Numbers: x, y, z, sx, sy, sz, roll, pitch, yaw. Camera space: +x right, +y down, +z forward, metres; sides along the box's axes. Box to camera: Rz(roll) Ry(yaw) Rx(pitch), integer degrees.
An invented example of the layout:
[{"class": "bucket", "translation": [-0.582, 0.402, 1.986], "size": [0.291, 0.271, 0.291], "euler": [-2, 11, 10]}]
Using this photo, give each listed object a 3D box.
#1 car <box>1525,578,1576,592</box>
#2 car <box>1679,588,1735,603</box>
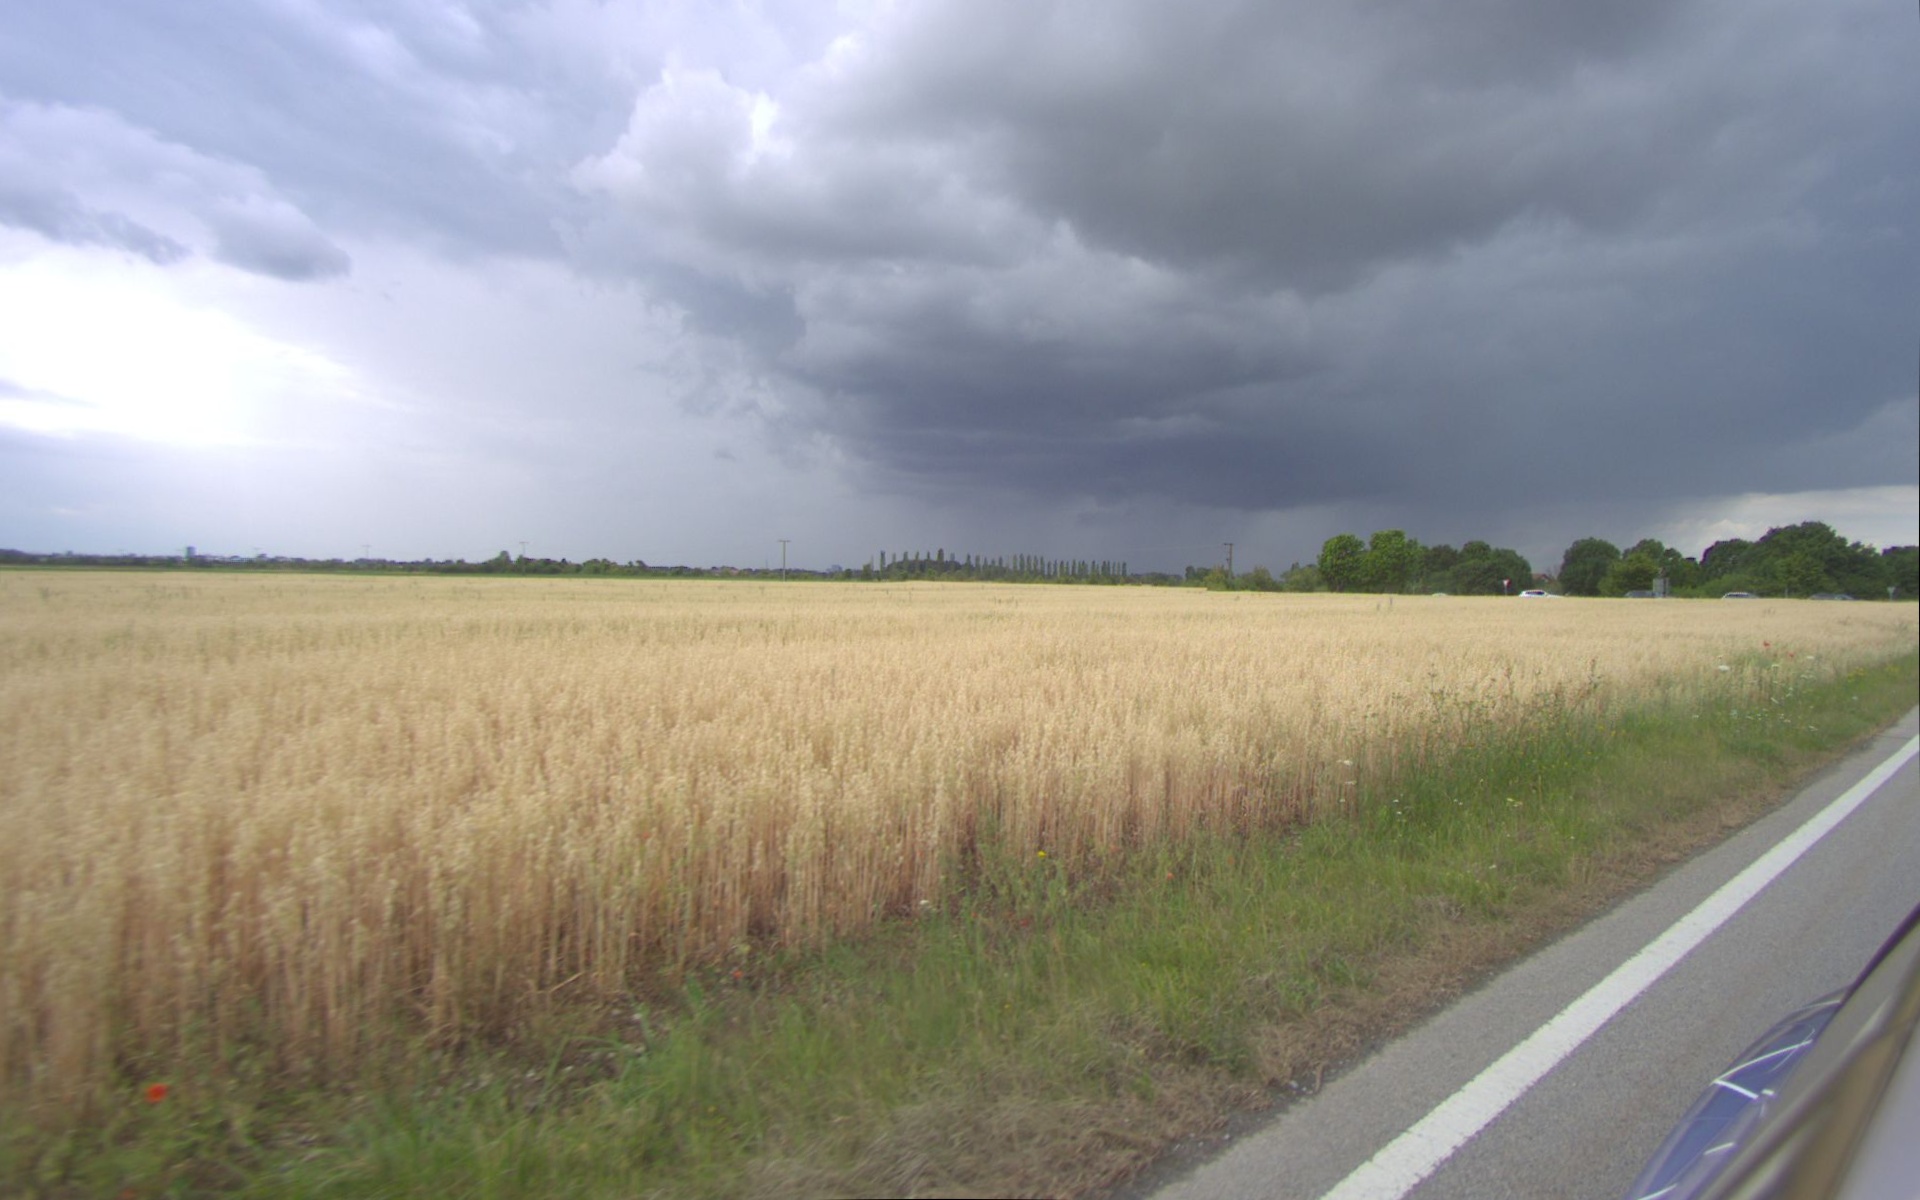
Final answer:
[{"class": "car", "translation": [66.511, -1.706, 114.012], "size": [1.690, 1.512, 4.638], "euler": [-2, 3, -36]}, {"class": "car", "translation": [75.238, -0.476, 102.026], "size": [1.690, 1.370, 4.214], "euler": [1, 2, -36]}]
